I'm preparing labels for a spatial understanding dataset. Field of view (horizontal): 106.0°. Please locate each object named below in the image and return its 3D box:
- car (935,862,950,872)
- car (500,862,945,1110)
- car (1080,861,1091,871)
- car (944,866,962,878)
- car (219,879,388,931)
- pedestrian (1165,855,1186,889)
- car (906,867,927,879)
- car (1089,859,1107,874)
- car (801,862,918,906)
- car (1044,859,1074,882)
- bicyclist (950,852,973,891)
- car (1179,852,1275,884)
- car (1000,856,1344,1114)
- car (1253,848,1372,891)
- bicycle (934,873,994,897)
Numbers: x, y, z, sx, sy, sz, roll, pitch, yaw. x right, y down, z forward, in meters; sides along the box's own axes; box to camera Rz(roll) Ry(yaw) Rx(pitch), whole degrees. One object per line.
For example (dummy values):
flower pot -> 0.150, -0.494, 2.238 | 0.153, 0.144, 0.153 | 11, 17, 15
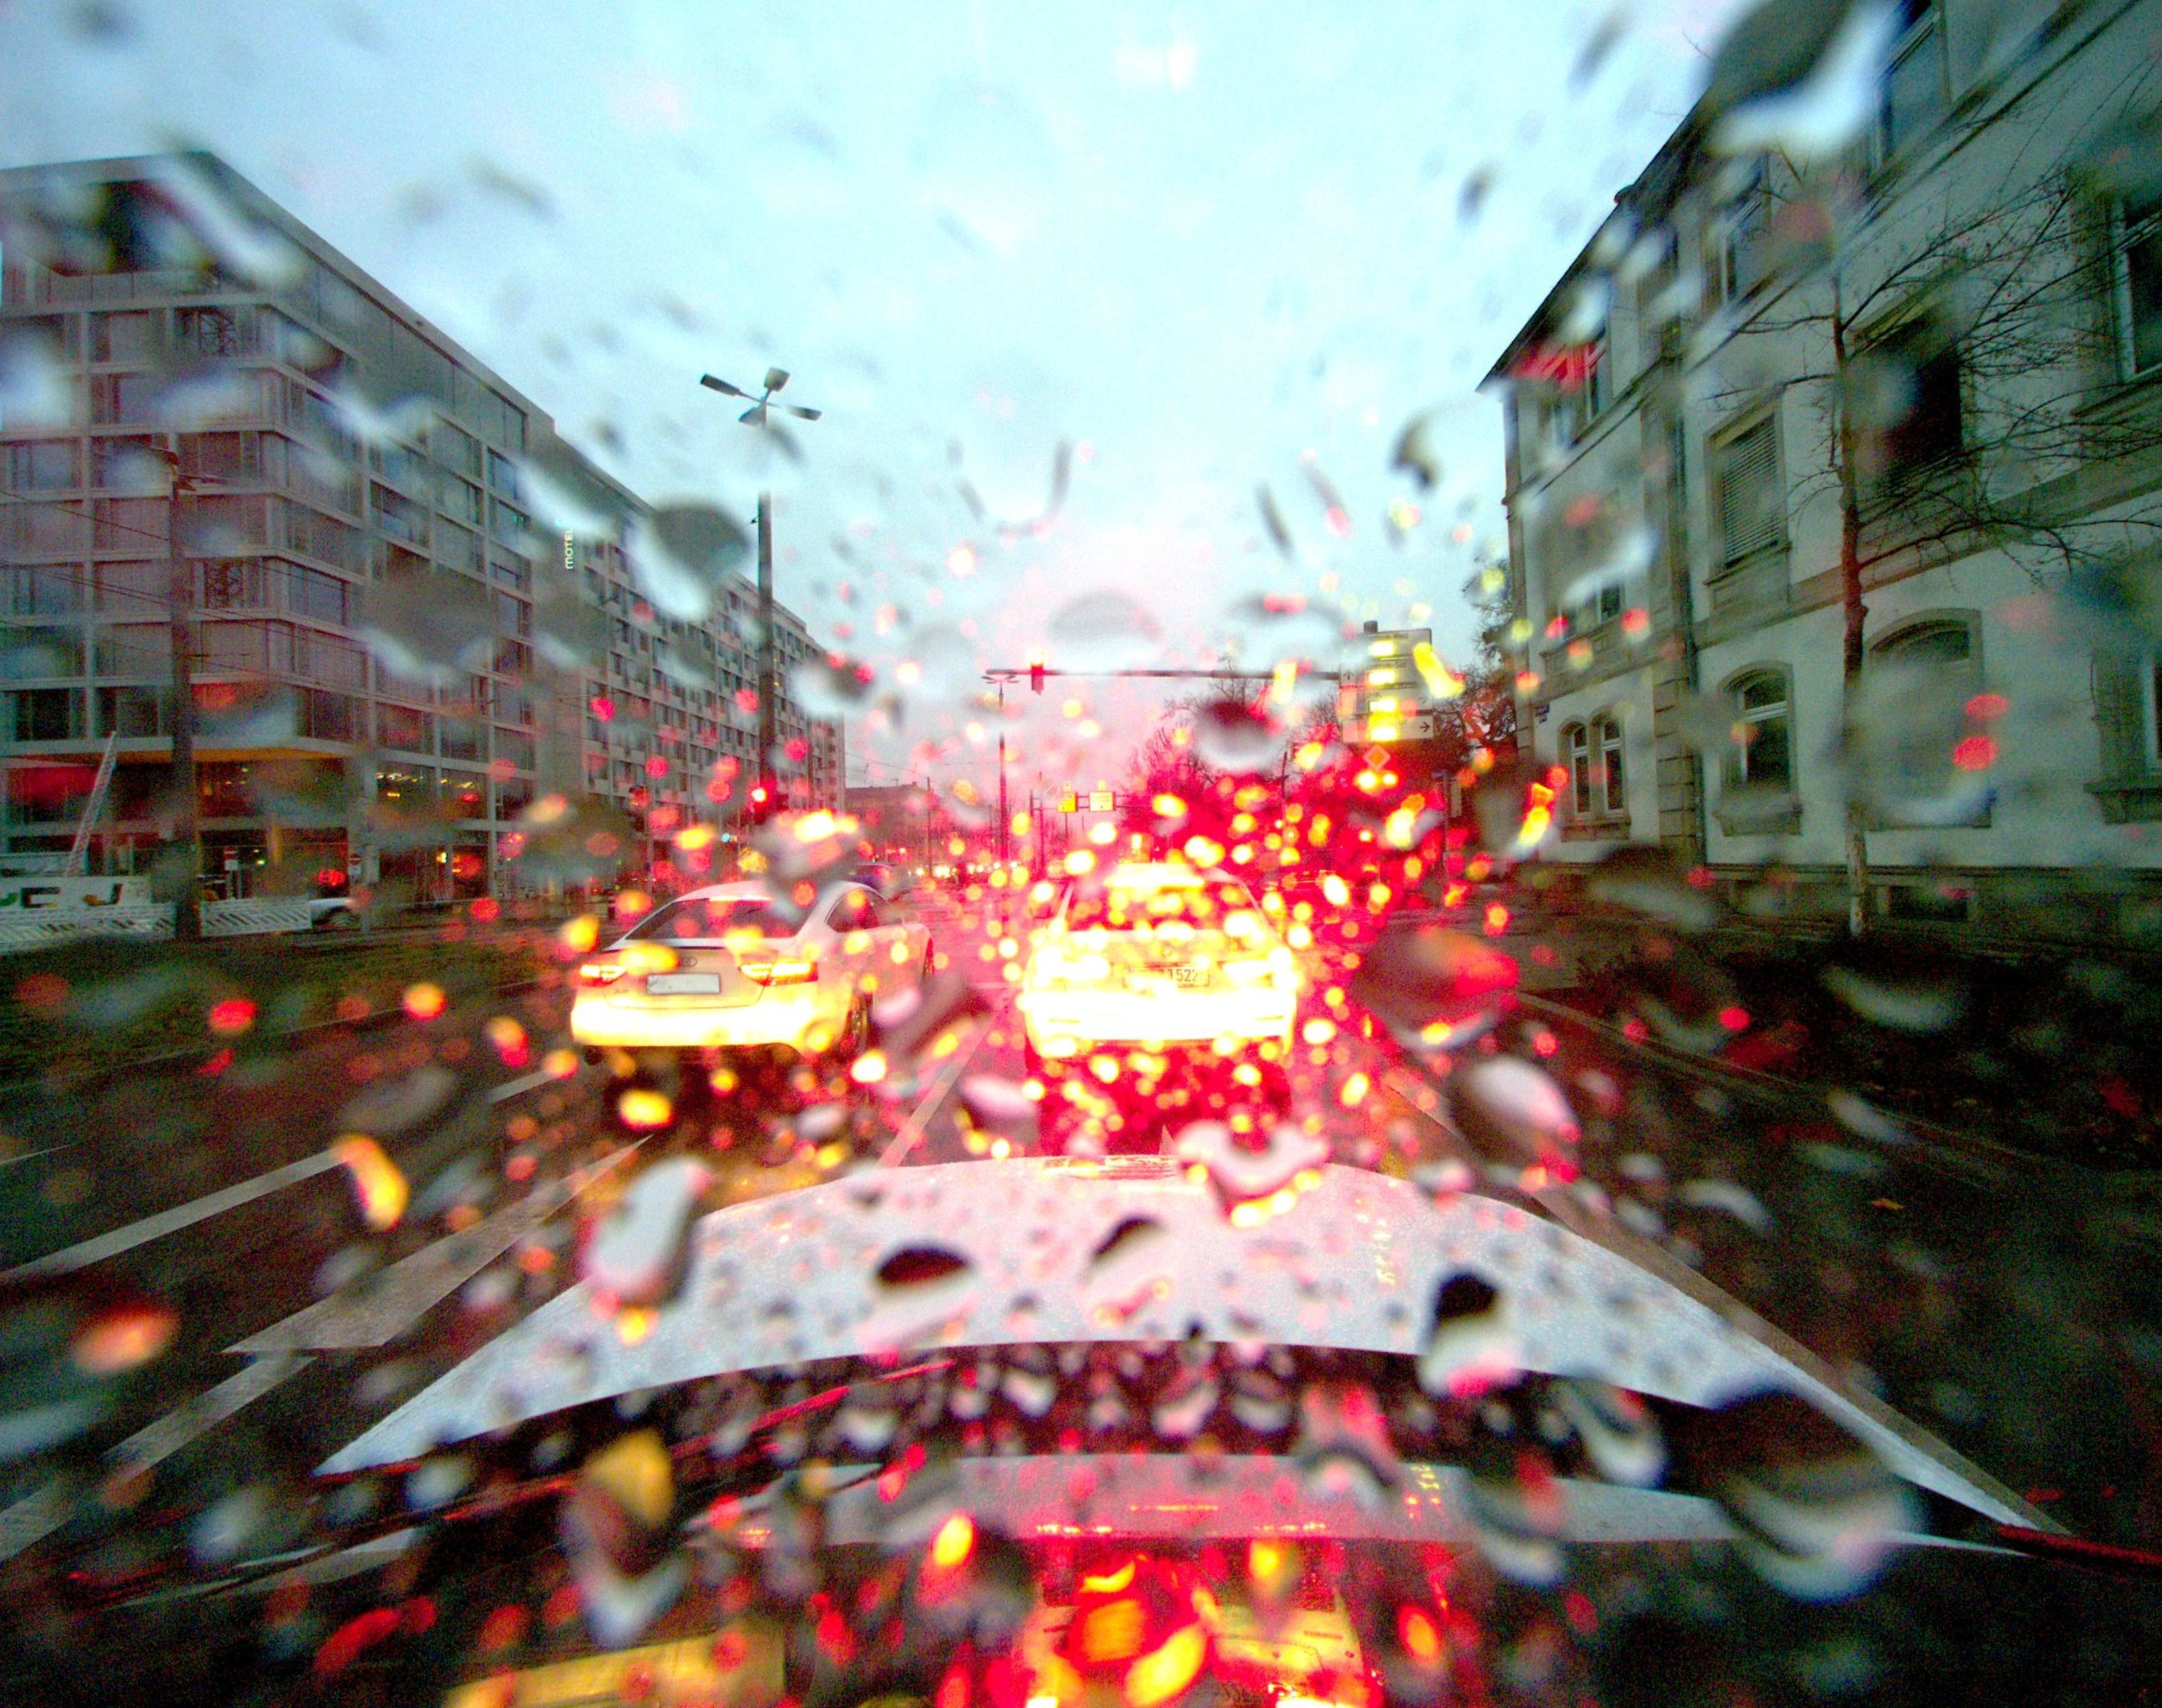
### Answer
car -> -21.718, 2.097, 128.103 | 1.669, 1.508, 3.697 | 0, -1, 1
car -> -2.586, 0.837, 7.235 | 1.987, 1.456, 4.367 | -1, 0, 0
car -> 0.762, 1.903, 131.747 | 1.836, 1.609, 3.945 | 0, -1, 1
car -> -16.331, 2.242, 104.233 | 1.669, 1.508, 3.697 | 0, -1, 1
car -> -24.192, 1.530, 25.490 | 3.720, 1.478, 1.608 | 1, -2, -44
pedestrian -> 5.229, 1.005, 45.120 | 0.894, 1.856, 0.817 | -1, -1, 26
car -> -20.157, 2.319, 100.005 | 1.669, 1.508, 3.697 | 0, -1, 1
car -> 1.822, 1.340, 86.672 | 1.836, 1.609, 3.945 | 0, -1, 1
car -> -8.392, 1.143, 31.116 | 3.978, 1.622, 1.717 | 0, -1, -3
car -> -1.571, 1.117, 56.716 | 1.741, 1.554, 3.959 | 0, -1, -6
bicyclist -> -5.491, 0.806, 37.455 | 0.969, 1.759, 0.813 | 0, -1, -1
car -> 6.687, 0.648, 37.321 | 3.949, 1.402, 1.768 | -1, -1, 30
car -> 0.537, 0.767, 6.942 | 1.987, 1.456, 4.367 | -1, 0, 0
car -> 8.482, 0.582, 29.910 | 4.061, 1.441, 1.848 | -1, -1, 16
bicycle -> -5.356, 1.431, 37.436 | 2.659, 1.089, 0.814 | 0, -1, -2
